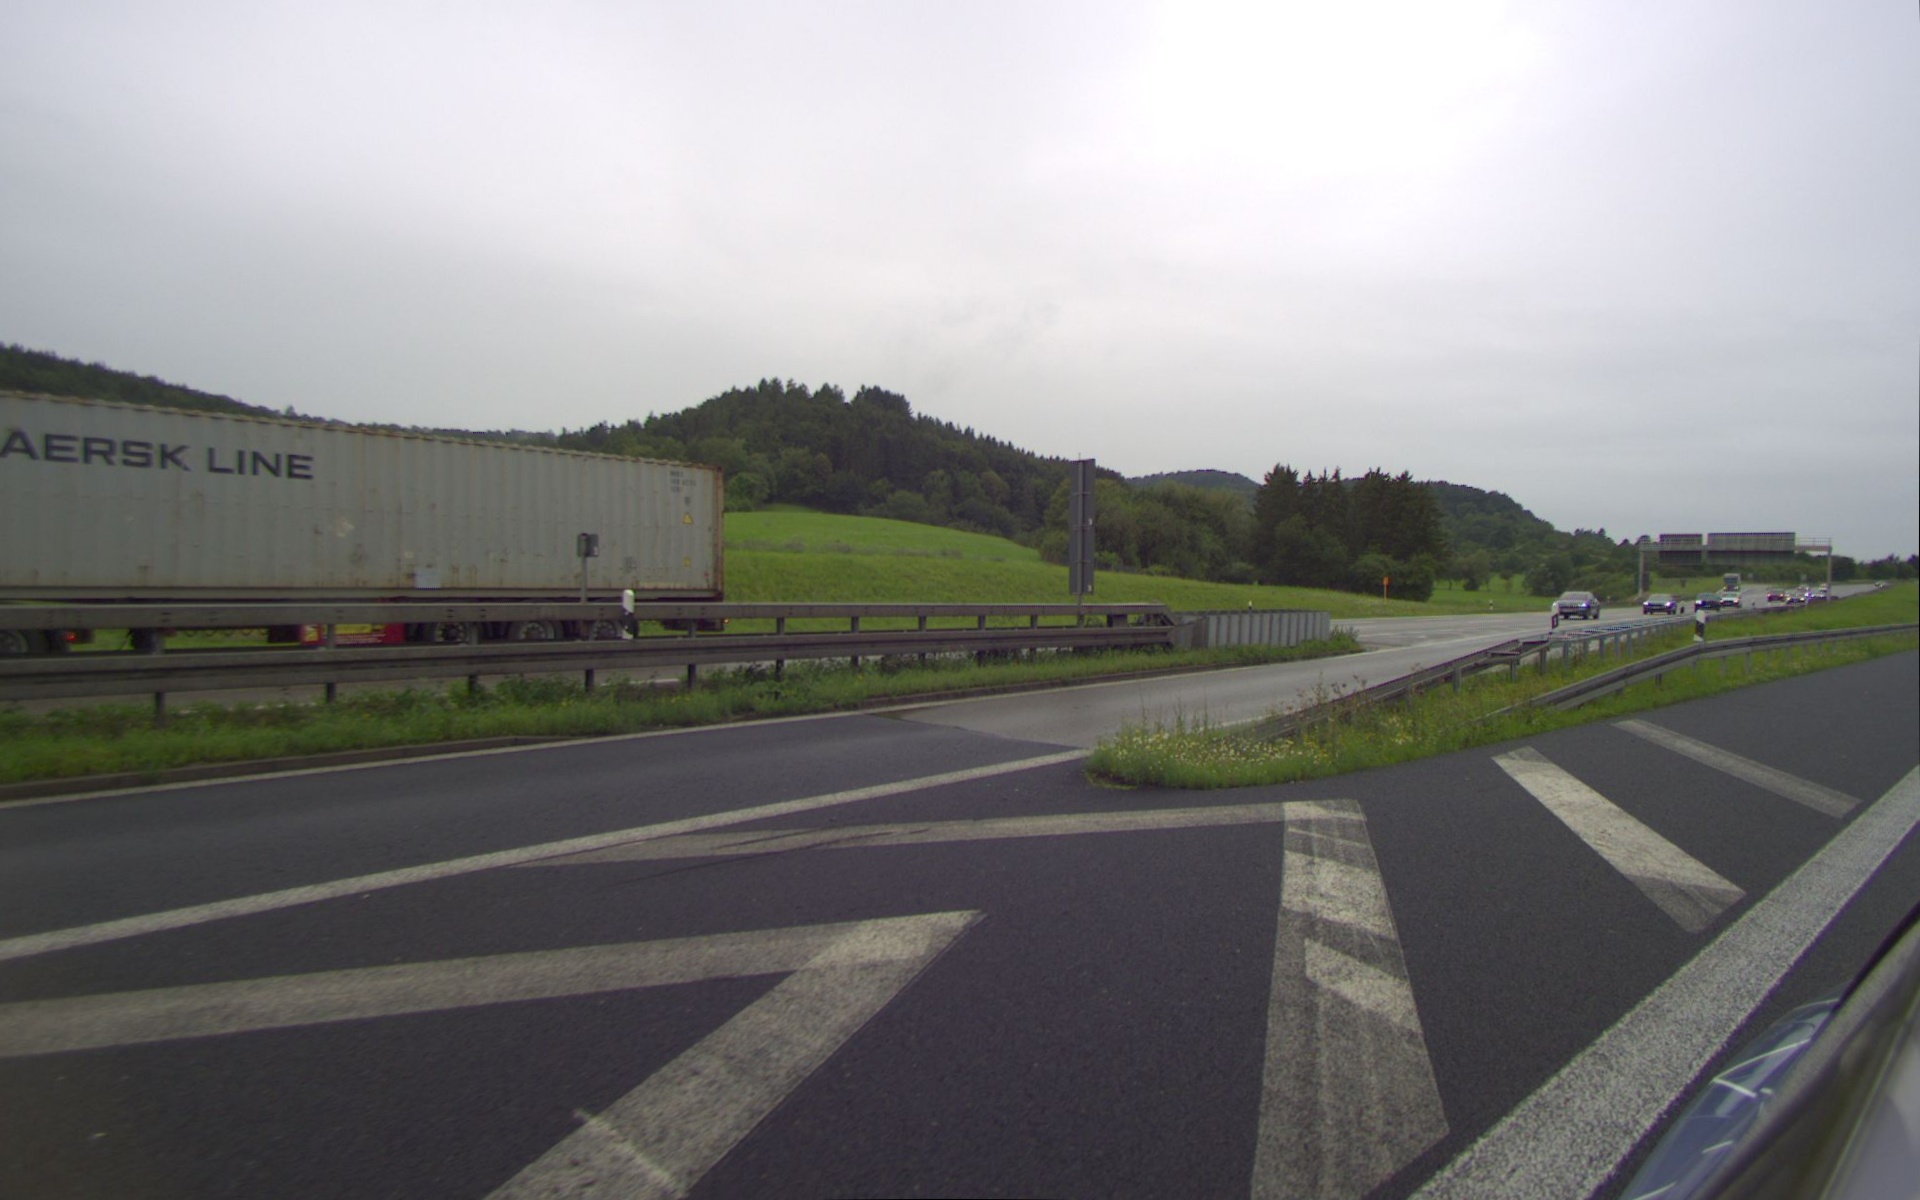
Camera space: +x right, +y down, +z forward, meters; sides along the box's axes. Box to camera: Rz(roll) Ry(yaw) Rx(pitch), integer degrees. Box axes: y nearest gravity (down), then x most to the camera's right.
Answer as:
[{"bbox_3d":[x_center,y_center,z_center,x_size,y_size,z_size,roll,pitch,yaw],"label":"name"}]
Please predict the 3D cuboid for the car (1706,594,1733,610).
[{"bbox_3d":[69.521,0.165,92.594,1.859,1.374,4.503,0,0,39],"label":"car"}]

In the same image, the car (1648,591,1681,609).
[{"bbox_3d":[55.621,0.000,79.843,1.666,1.400,4.064,0,0,42],"label":"car"}]

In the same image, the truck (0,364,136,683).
[{"bbox_3d":[-14.032,-0.930,12.077,2.617,3.934,6.289,0,0,44],"label":"truck"}]

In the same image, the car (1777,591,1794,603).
[{"bbox_3d":[126.910,-0.472,155.560,1.908,1.715,4.647,0,0,42],"label":"car"}]

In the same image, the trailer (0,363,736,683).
[{"bbox_3d":[-9.654,-0.992,16.570,2.604,3.943,12.290,0,0,44],"label":"trailer"}]

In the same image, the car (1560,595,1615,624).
[{"bbox_3d":[37.137,0.543,59.838,4.568,1.630,1.770,-1,0,-45],"label":"car"}]

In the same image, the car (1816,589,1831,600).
[{"bbox_3d":[149.973,-0.959,175.792,1.908,1.715,4.647,0,0,42],"label":"car"}]

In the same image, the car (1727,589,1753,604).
[{"bbox_3d":[90.904,-0.394,117.918,1.908,1.715,4.646,0,0,43],"label":"car"}]

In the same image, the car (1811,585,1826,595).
[{"bbox_3d":[158.891,-1.883,187.310,1.908,1.715,4.647,0,0,42],"label":"car"}]

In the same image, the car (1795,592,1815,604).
[{"bbox_3d":[117.631,-0.304,140.838,1.908,1.715,4.647,0,0,42],"label":"car"}]
